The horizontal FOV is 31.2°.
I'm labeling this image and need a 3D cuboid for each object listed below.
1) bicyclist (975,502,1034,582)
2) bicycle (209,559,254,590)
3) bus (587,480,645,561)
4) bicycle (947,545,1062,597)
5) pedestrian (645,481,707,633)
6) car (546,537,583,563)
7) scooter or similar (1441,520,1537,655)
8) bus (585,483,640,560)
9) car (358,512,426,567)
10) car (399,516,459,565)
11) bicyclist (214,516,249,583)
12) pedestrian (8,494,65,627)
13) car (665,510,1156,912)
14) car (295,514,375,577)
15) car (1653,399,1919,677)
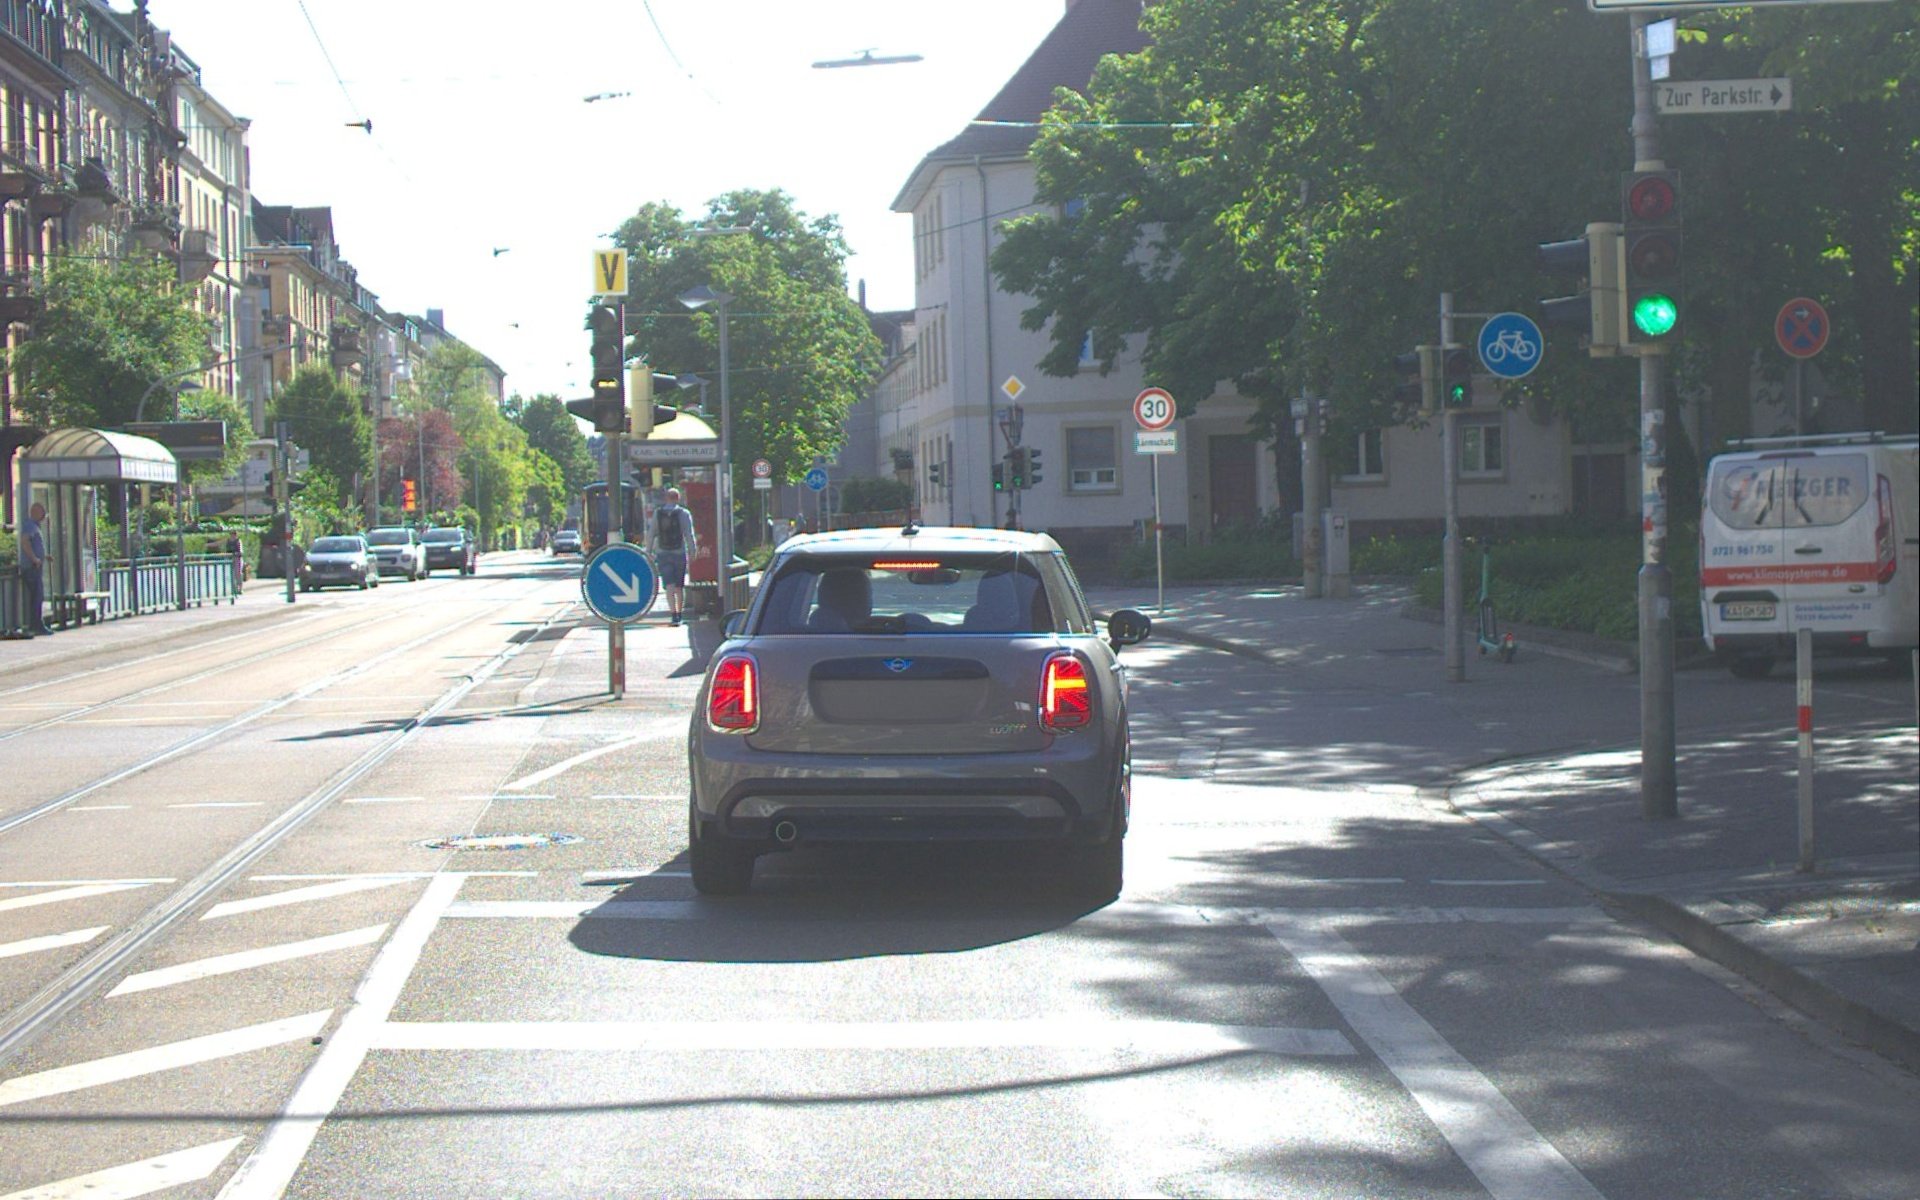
[{"bbox_3d":[1.007,-1.320,78.289,1.057,1.805,0.819,0,1,32],"label":"bicyclist"},{"bbox_3d":[-18.252,-0.641,86.176,0.719,0.747,1.916,0,1,-1],"label":"bicycle"},{"bbox_3d":[-15.282,-3.502,152.296,2.385,3.484,7.386,-1,1,-7],"label":"bus"},{"bbox_3d":[1.008,-0.660,78.265,2.535,1.152,0.843,0,1,32],"label":"bicycle"},{"bbox_3d":[-3.777,-0.571,45.741,0.795,2.007,0.740,0,1,-4],"label":"pedestrian"},{"bbox_3d":[-24.150,-3.068,210.030,1.993,1.590,4.001,0,1,-3],"label":"car"},{"bbox_3d":[5.237,-0.134,34.091,0.676,1.305,1.329,0,1,-3],"label":"scooter or similar"},{"bbox_3d":[-16.175,-3.626,159.645,2.385,3.484,7.386,-1,1,-7],"label":"bus"},{"bbox_3d":[-16.964,-1.799,102.785,1.775,1.612,4.001,-1,1,-6],"label":"car"},{"bbox_3d":[-17.821,-1.987,115.439,1.775,1.612,4.001,-1,1,-6],"label":"car"},{"bbox_3d":[-18.250,-1.265,86.143,0.713,1.660,0.734,0,1,0],"label":"bicyclist"},{"bbox_3d":[-12.591,-0.546,46.885,0.606,1.789,0.579,-2,2,-6],"label":"pedestrian"},{"bbox_3d":[-0.097,0.385,14.759,1.815,1.483,4.000,0,1,3],"label":"car"},{"bbox_3d":[-16.584,-1.446,91.395,1.775,1.612,4.001,-1,1,-6],"label":"car"},{"bbox_3d":[8.163,-0.533,29.814,2.123,2.200,4.933,0,1,40],"label":"car"}]
